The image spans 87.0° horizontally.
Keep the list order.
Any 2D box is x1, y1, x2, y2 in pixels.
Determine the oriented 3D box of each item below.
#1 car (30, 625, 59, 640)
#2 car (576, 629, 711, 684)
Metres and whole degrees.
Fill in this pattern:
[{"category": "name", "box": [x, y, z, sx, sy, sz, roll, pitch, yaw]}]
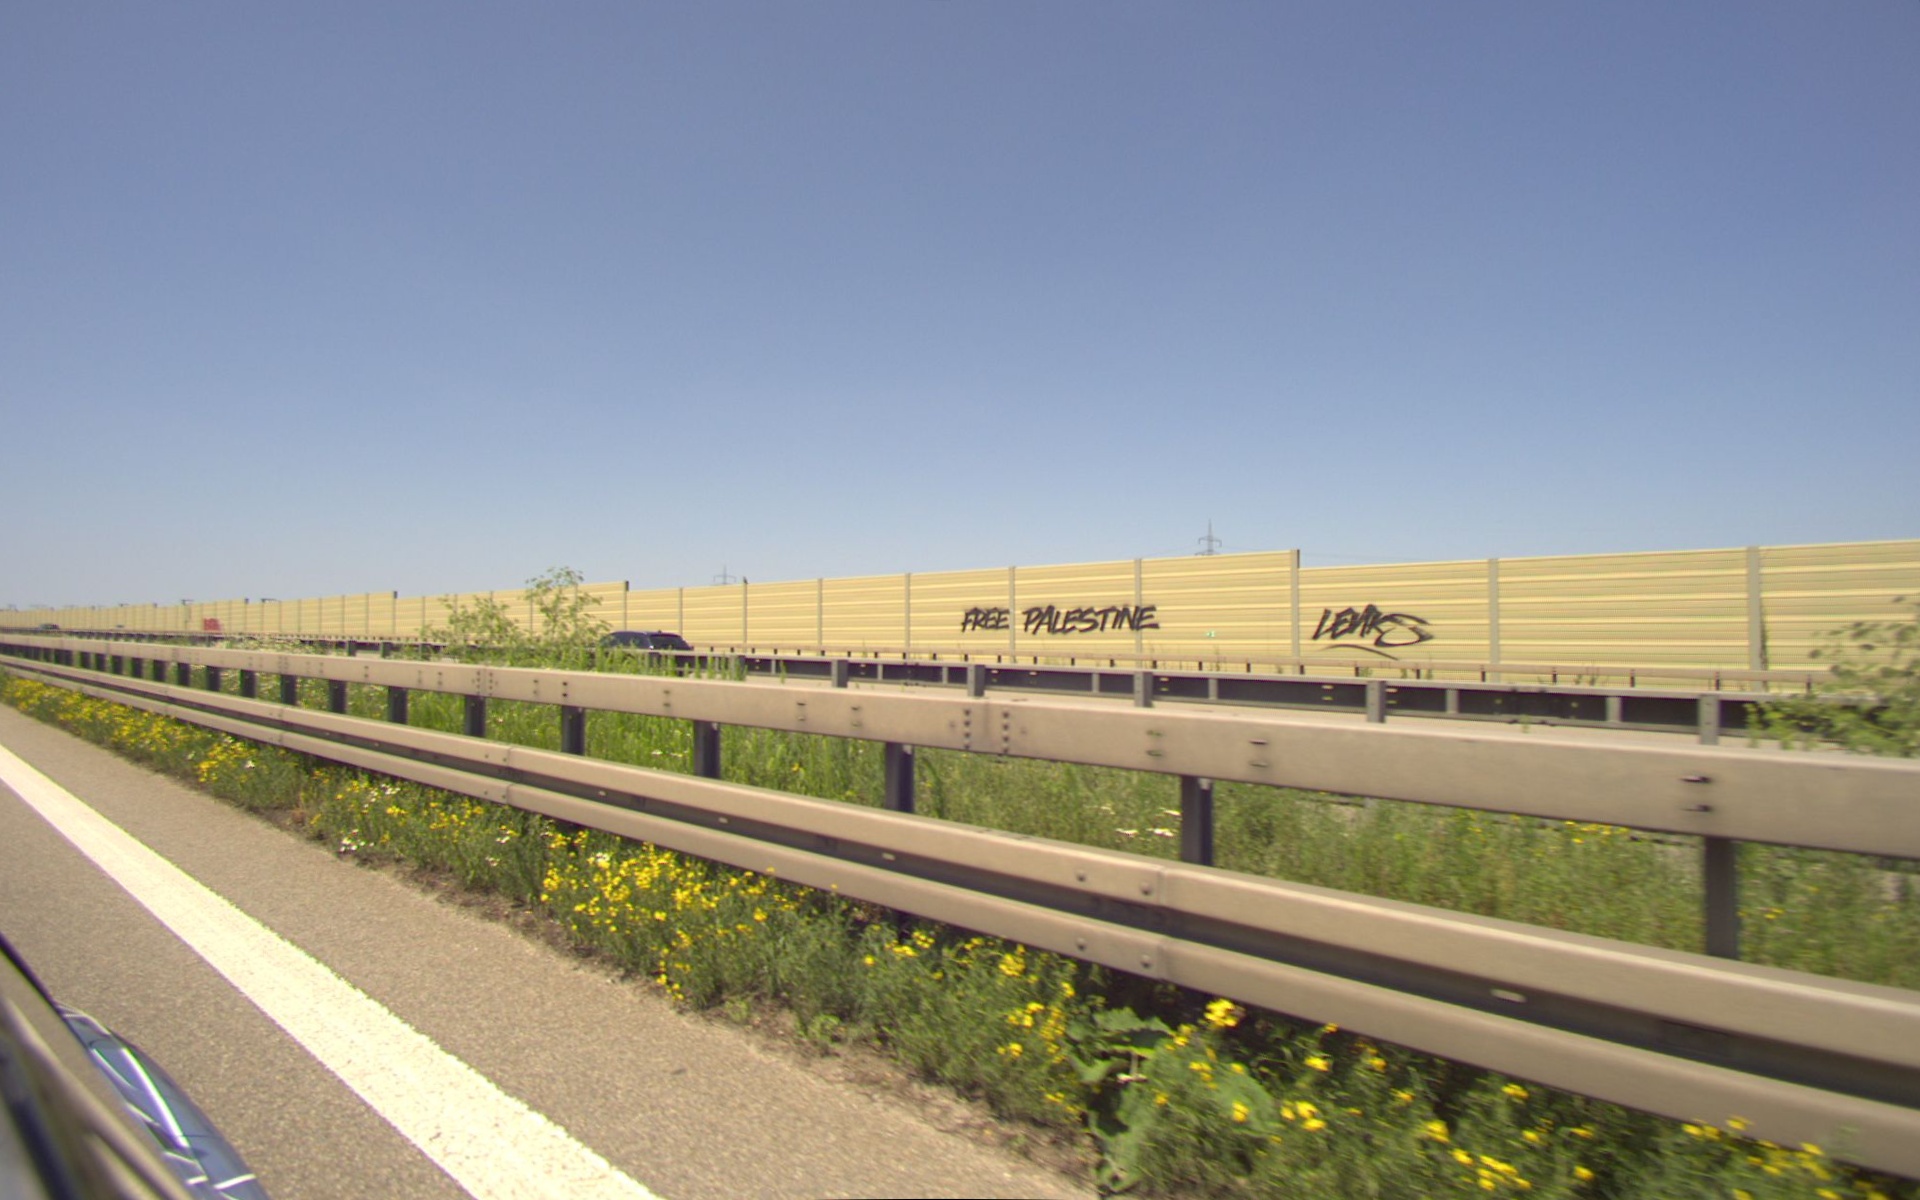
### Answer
[{"category": "car", "box": [-95.464, 3.384, 105.564, 4.482, 1.420, 1.701, -1, 0, 41]}, {"category": "car", "box": [-9.356, 1.607, 29.778, 3.998, 1.431, 1.973, -1, 0, 41]}]
